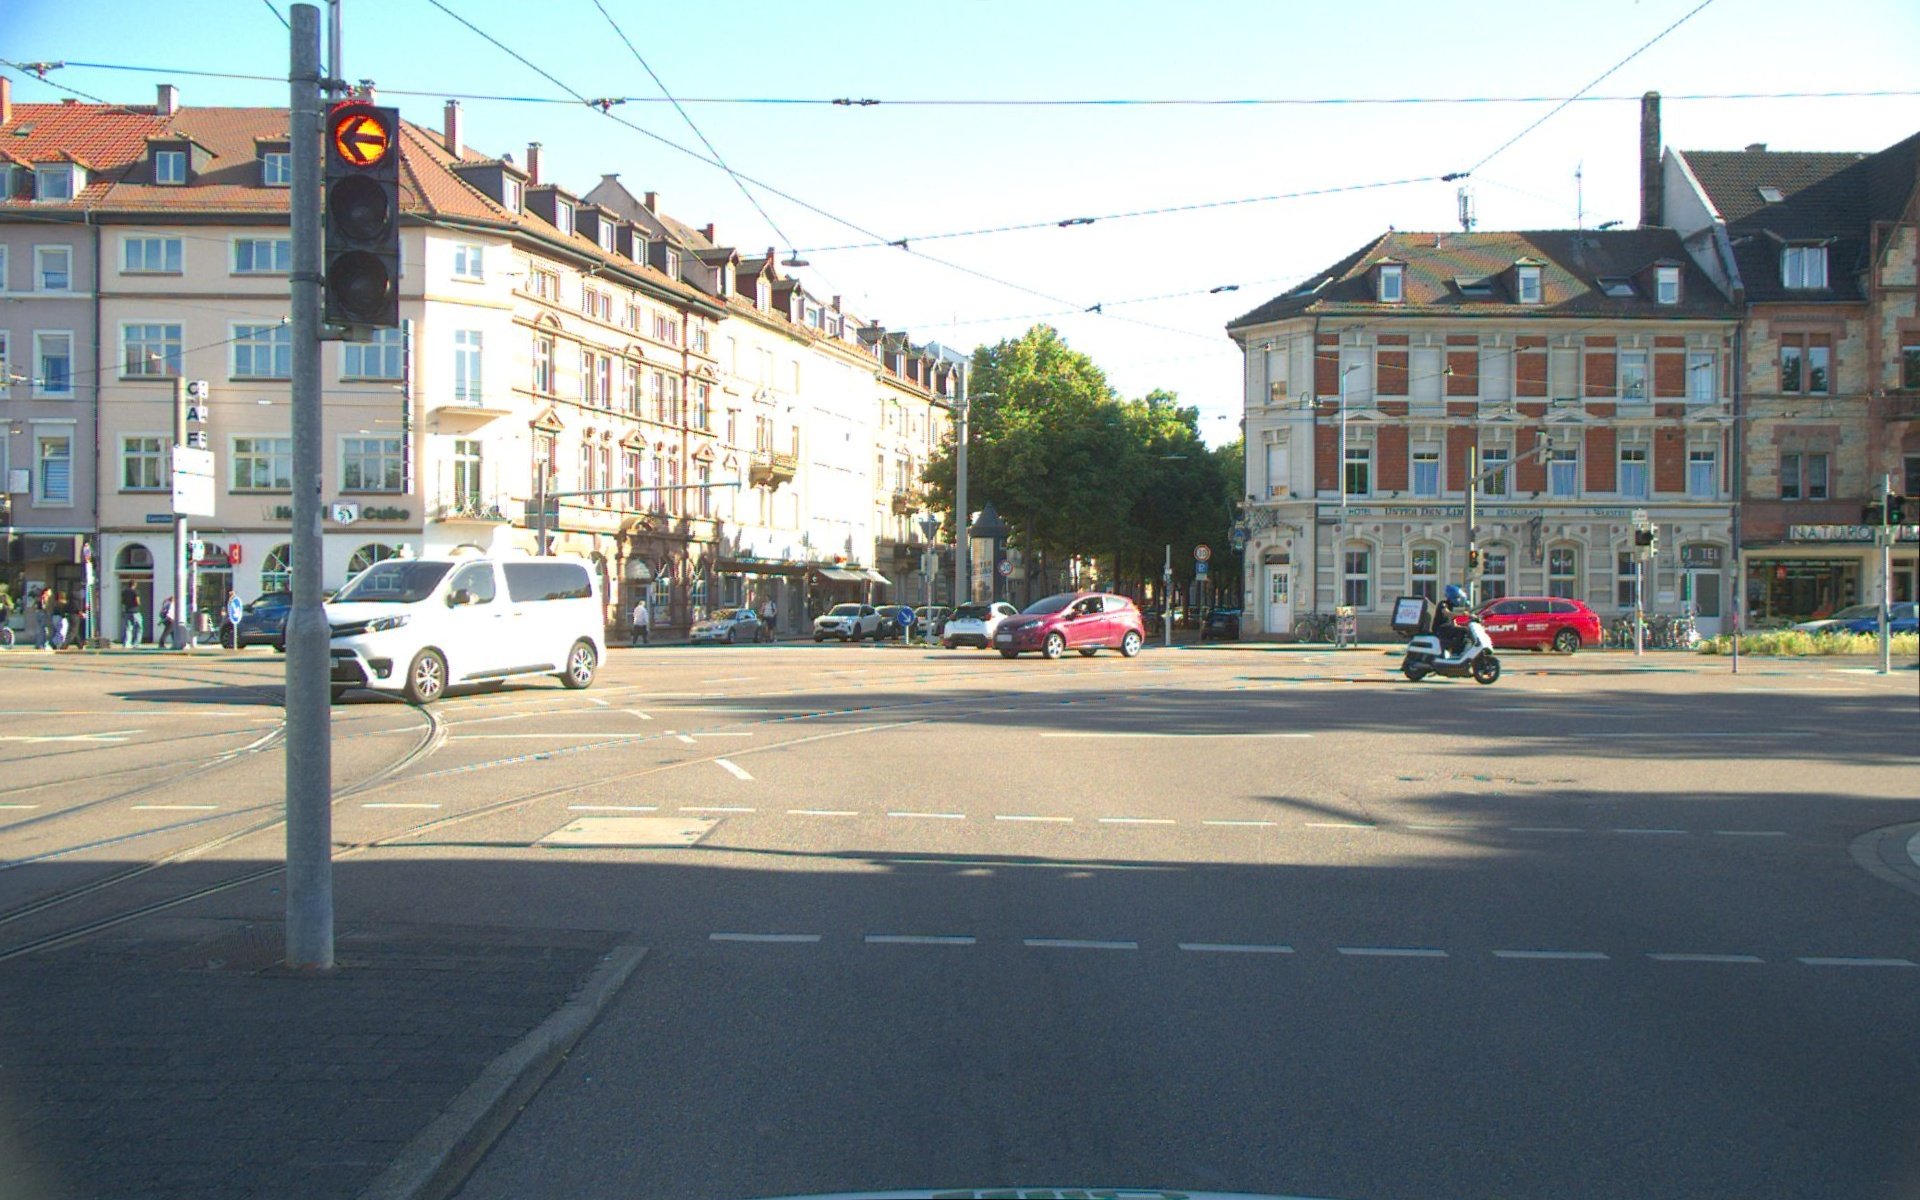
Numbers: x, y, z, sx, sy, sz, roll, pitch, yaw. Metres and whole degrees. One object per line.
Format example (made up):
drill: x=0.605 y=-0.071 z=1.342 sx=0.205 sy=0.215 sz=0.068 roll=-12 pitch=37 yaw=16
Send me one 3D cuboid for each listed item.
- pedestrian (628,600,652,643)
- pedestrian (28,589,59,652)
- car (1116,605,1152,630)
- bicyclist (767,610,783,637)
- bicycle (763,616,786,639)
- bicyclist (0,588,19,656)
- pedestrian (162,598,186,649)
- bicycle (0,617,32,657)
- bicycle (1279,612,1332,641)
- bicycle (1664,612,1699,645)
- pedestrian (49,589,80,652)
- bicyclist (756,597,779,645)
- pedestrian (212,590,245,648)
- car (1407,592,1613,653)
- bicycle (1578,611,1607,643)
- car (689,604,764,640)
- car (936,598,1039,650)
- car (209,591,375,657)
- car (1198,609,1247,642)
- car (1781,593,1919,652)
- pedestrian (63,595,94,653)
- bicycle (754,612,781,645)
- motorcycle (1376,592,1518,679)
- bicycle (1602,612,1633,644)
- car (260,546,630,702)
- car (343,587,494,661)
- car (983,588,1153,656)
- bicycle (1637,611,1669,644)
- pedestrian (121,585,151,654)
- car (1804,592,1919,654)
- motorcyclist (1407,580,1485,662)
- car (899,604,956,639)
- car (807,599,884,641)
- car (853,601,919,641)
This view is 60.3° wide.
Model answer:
pedestrian: x=-12.504 y=0.849 z=64.702 sx=0.556 sy=1.671 sz=0.792 roll=1 pitch=-1 yaw=22
pedestrian: x=-24.543 y=0.541 z=44.301 sx=0.512 sy=1.677 sz=0.497 roll=1 pitch=-1 yaw=-1
car: x=12.296 y=1.230 z=116.683 sx=1.951 sy=1.713 sz=4.003 roll=1 pitch=0 yaw=15
bicyclist: x=-7.530 y=0.947 z=67.231 sx=0.462 sy=1.058 sz=0.538 roll=1 pitch=-1 yaw=14
bicycle: x=-7.532 y=1.116 z=67.220 sx=0.462 sy=0.938 sz=1.453 roll=1 pitch=0 yaw=14
bicyclist: x=-25.755 y=0.590 z=44.391 sx=0.608 sy=1.822 sz=0.615 roll=1 pitch=-1 yaw=4
pedestrian: x=-22.475 y=0.661 z=47.287 sx=0.394 sy=1.444 sz=0.625 roll=1 pitch=-1 yaw=-6
bicycle: x=-25.762 y=0.986 z=44.364 sx=0.608 sy=1.048 sz=1.755 roll=1 pitch=0 yaw=4
bicycle: x=11.977 y=0.907 z=57.292 sx=1.764 sy=0.979 sz=0.604 roll=1 pitch=0 yaw=14
bicycle: x=23.316 y=0.906 z=53.488 sx=0.775 sy=1.033 sz=2.211 roll=1 pitch=0 yaw=17
pedestrian: x=-24.003 y=0.556 z=44.333 sx=0.512 sy=1.677 sz=0.497 roll=1 pitch=-1 yaw=-1
bicyclist: x=-7.557 y=0.826 z=64.987 sx=0.553 sy=1.835 sz=0.915 roll=1 pitch=-1 yaw=14
pedestrian: x=-21.433 y=0.554 z=48.464 sx=0.571 sy=1.677 sz=0.840 roll=1 pitch=-1 yaw=-1
car: x=14.243 y=0.574 z=42.983 sx=4.760 sy=1.495 sz=1.803 roll=0 pitch=1 yaw=-1
bicycle: x=20.559 y=0.873 z=53.802 sx=0.749 sy=0.985 sz=2.211 roll=1 pitch=0 yaw=17
car: x=-9.386 y=0.874 z=66.856 sx=1.624 sy=1.398 sz=3.894 roll=1 pitch=0 yaw=14
car: x=0.906 y=0.729 z=51.833 sx=1.854 sy=1.479 sz=4.008 roll=0 pitch=1 yaw=23
car: x=-17.154 y=0.588 z=42.442 sx=4.108 sy=1.602 sz=1.827 roll=1 pitch=0 yaw=31
car: x=13.142 y=1.278 z=82.679 sx=1.719 sy=1.583 sz=4.001 roll=1 pitch=0 yaw=20
car: x=26.791 y=0.667 z=49.156 sx=3.905 sy=1.650 sz=1.804 roll=1 pitch=0 yaw=0
pedestrian: x=-23.546 y=0.641 z=44.182 sx=0.481 sy=1.518 sz=0.556 roll=1 pitch=-1 yaw=-1
bicycle: x=-7.557 y=1.106 z=64.968 sx=0.553 sy=1.276 sz=1.558 roll=1 pitch=0 yaw=14
motorcycle: x=7.984 y=0.565 z=27.152 sx=2.104 sy=1.357 sz=0.792 roll=1 pitch=-1 yaw=42
bicycle: x=21.338 y=0.886 z=53.709 sx=0.749 sy=1.001 sz=2.211 roll=1 pitch=0 yaw=17
car: x=-6.861 y=0.295 z=22.744 sx=1.953 sy=1.886 sz=5.214 roll=0 pitch=0 yaw=23
car: x=-11.774 y=0.499 z=36.220 sx=1.747 sy=1.530 sz=3.922 roll=0 pitch=0 yaw=5
car: x=2.484 y=0.474 z=37.651 sx=3.843 sy=1.451 sz=1.574 roll=0 pitch=1 yaw=-39
bicycle: x=22.471 y=0.893 z=53.683 sx=0.749 sy=1.025 sz=2.221 roll=1 pitch=0 yaw=17
pedestrian: x=-22.390 y=0.520 z=44.942 sx=0.518 sy=1.854 sz=0.675 roll=1 pitch=-1 yaw=-11
car: x=25.916 y=0.638 z=46.033 sx=3.905 sy=1.650 sz=1.804 roll=1 pitch=0 yaw=0
motorcyclist: x=8.020 y=0.339 z=27.293 sx=1.000 sy=1.323 sz=0.784 roll=1 pitch=-1 yaw=42
car: x=-1.535 y=1.015 z=79.569 sx=1.764 sy=1.603 sz=3.893 roll=1 pitch=0 yaw=15
car: x=-4.617 y=0.807 z=67.200 sx=1.764 sy=1.613 sz=4.162 roll=1 pitch=0 yaw=16
car: x=-3.251 y=0.932 z=73.532 sx=1.786 sy=1.715 sz=3.877 roll=1 pitch=0 yaw=16
